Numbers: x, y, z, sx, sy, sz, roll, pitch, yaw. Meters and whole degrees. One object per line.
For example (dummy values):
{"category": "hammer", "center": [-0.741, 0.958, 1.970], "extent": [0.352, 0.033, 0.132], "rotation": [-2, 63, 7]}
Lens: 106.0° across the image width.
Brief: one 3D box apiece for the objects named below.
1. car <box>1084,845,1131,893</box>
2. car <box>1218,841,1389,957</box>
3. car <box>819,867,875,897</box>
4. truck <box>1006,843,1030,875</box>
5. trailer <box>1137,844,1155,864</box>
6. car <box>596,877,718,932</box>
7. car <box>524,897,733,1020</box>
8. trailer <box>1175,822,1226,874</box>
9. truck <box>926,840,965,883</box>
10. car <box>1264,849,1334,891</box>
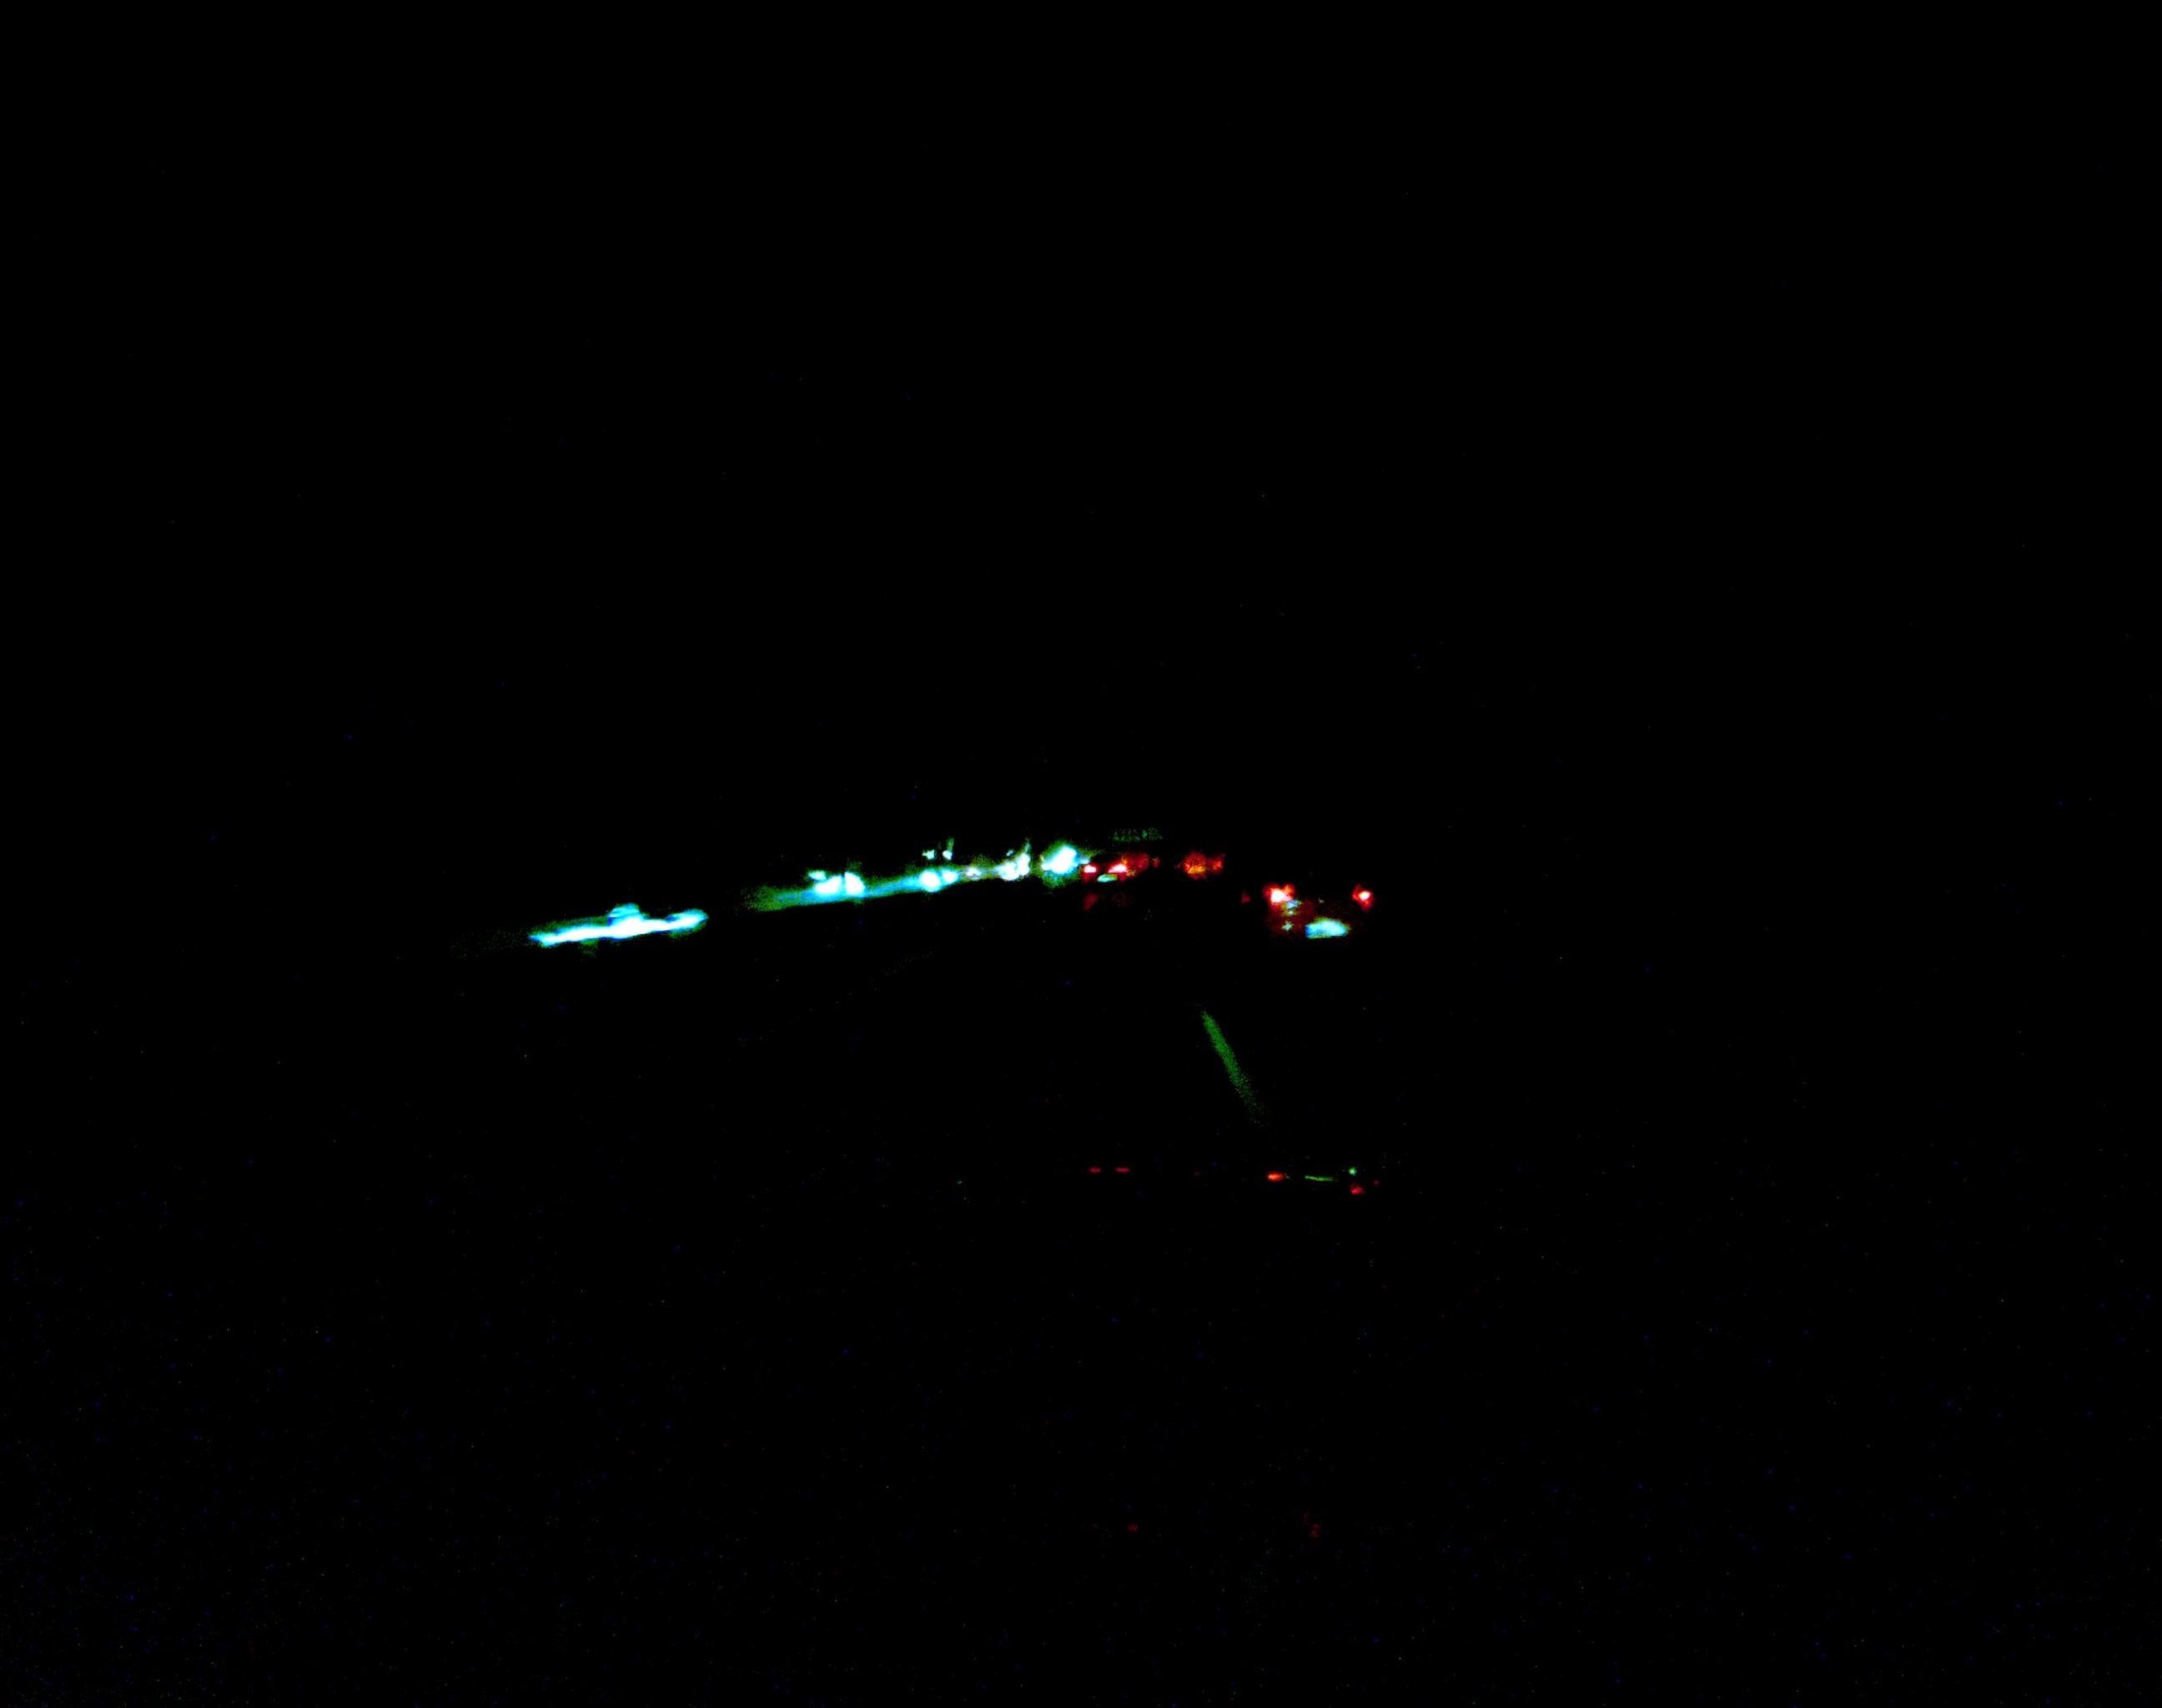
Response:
{"category": "car", "center": [1.190, 0.635, 37.722], "extent": [1.987, 2.013, 4.001], "rotation": [-2, 0, 1]}
{"category": "car", "center": [3.476, 0.682, 13.594], "extent": [1.734, 1.575, 4.495], "rotation": [-1, -1, 2]}
{"category": "car", "center": [-14.430, 1.693, 50.436], "extent": [1.987, 1.774, 4.959], "rotation": [0, -1, 0]}
{"category": "truck", "center": [-8.614, 0.695, 112.121], "extent": [2.681, 4.381, 5.734], "rotation": [0, 0, 0]}
{"category": "trailer", "center": [14.990, 0.139, 188.418], "extent": [3.030, 4.109, 13.828], "rotation": [-3, -2, 1]}
{"category": "car", "center": [-16.121, 1.860, 31.296], "extent": [1.987, 1.774, 4.959], "rotation": [-3, -1, 0]}
{"category": "car", "center": [-9.550, 2.115, 17.690], "extent": [1.986, 2.013, 4.297], "rotation": [0, 1, 2]}
{"category": "trailer", "center": [10.649, -0.376, 74.117], "extent": [2.892, 4.109, 14.494], "rotation": [-3, -1, 2]}
{"category": "truck", "center": [-13.653, 0.723, 82.423], "extent": [2.680, 4.221, 5.738], "rotation": [0, 0, 2]}
{"category": "car", "center": [8.543, 0.627, 32.228], "extent": [1.634, 1.503, 4.012], "rotation": [-2, -1, 0]}
